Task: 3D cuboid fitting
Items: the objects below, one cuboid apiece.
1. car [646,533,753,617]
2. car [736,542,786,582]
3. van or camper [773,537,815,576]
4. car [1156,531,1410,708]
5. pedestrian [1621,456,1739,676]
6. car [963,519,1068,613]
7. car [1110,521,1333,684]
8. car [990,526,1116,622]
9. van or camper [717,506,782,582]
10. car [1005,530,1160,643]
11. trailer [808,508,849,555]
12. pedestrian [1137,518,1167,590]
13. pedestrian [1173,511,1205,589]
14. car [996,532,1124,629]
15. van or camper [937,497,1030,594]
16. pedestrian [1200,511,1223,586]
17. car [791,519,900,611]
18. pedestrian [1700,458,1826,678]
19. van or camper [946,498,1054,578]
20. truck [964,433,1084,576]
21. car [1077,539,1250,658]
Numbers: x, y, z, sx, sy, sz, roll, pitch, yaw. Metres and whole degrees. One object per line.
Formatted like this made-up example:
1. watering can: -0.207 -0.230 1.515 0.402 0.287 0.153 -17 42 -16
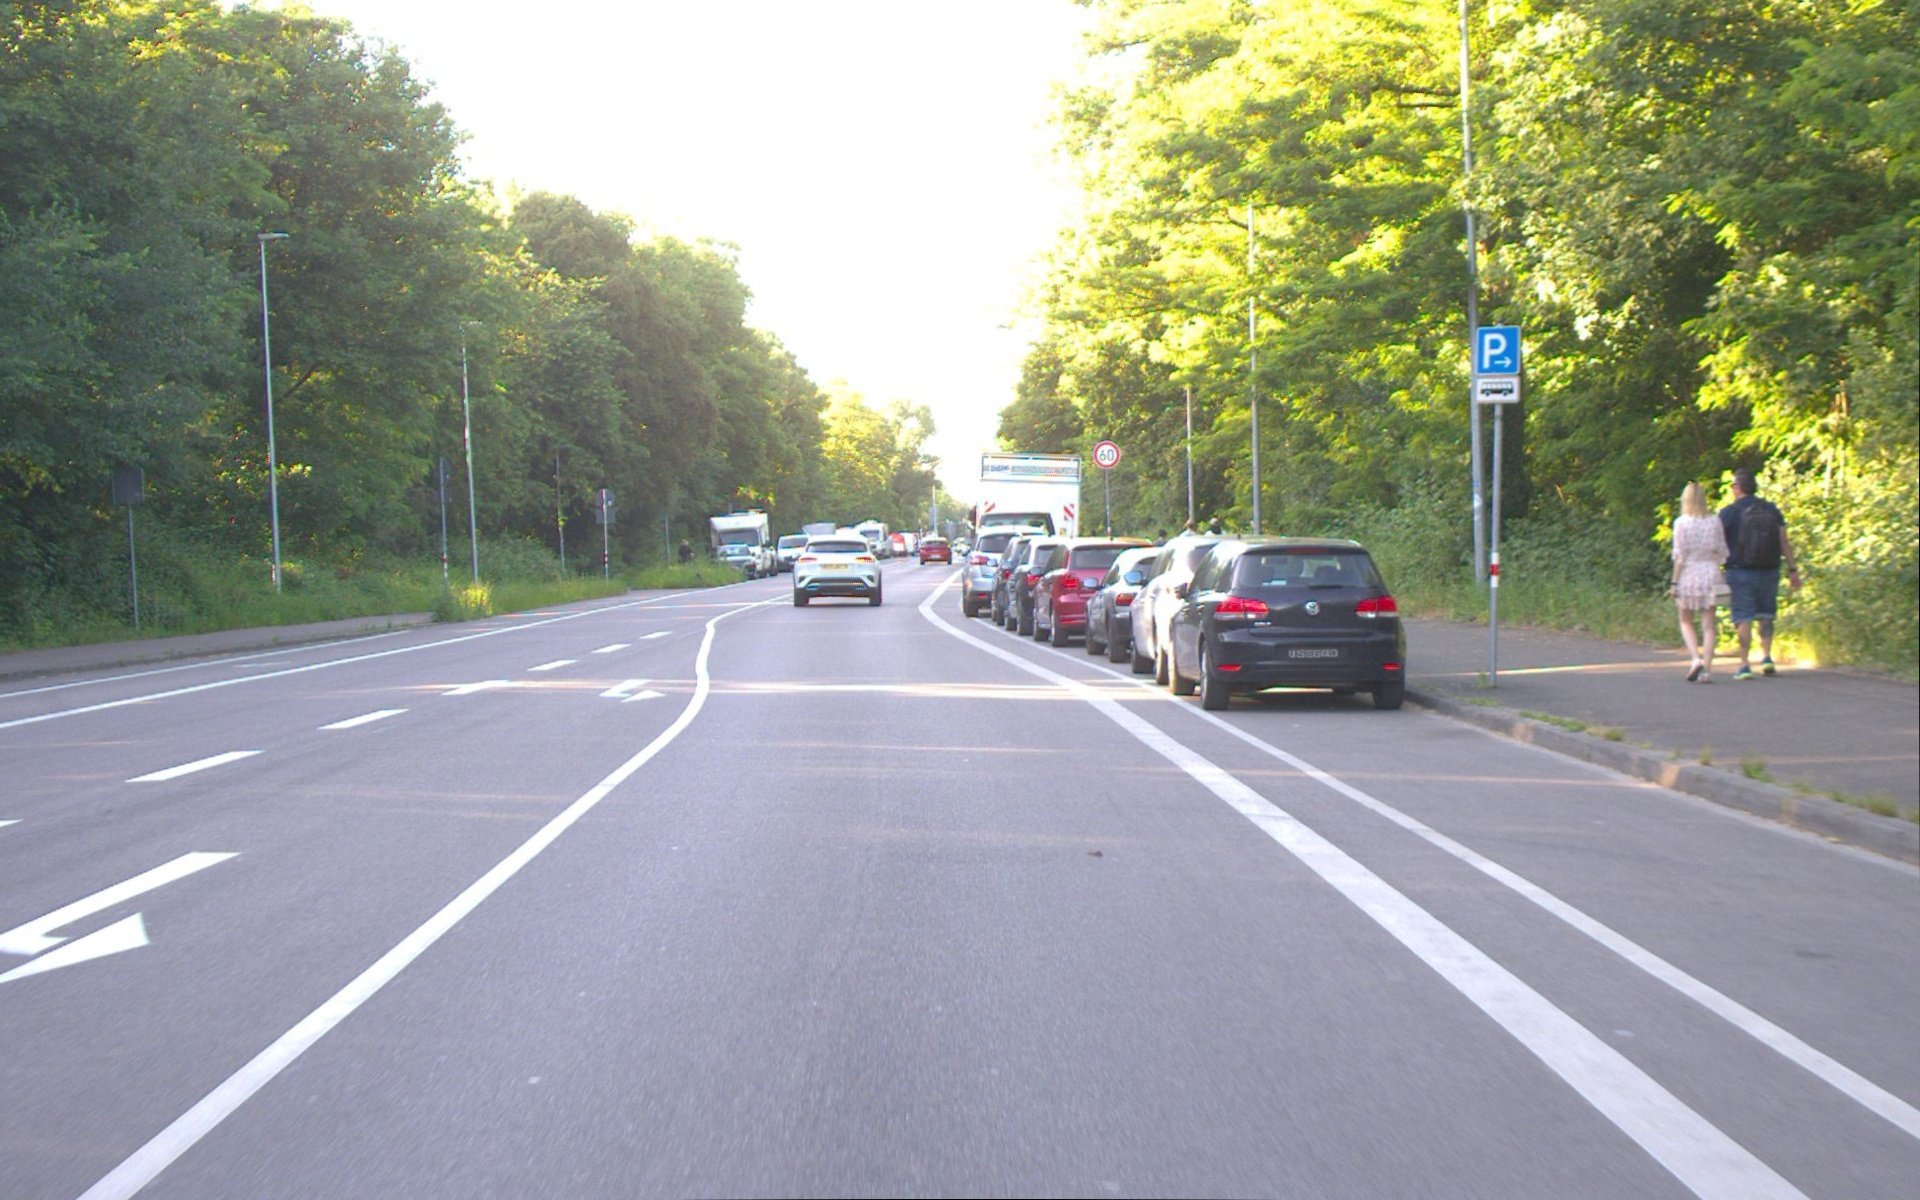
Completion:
1. car: -4.881 -0.498 64.878 1.807 1.514 4.505 0 1 -2
2. car: -7.877 -1.514 136.587 1.827 1.471 4.682 -3 1 -2
3. van or camper: -8.549 -2.246 177.339 1.835 1.905 4.856 -3 1 0
4. car: 2.819 0.125 30.800 1.656 1.447 4.021 1 1 -3
5. pedestrian: 6.070 -0.289 29.017 0.675 1.792 0.790 -4 1 -5
6. car: 1.012 -0.640 62.454 1.798 1.589 4.029 -2 1 1
7. car: 2.623 -0.028 35.395 1.737 1.519 4.360 -2 1 -3
8. car: 1.501 -0.464 57.055 1.807 1.514 4.505 0 1 -2
9. van or camper: -8.795 -2.346 144.495 2.314 2.959 7.112 -4 1 -2
10. car: 1.618 -0.213 46.565 1.616 1.464 3.725 0 1 -5
11. trailer: -7.642 -4.017 200.783 1.993 2.588 4.416 -4 1 1
12. pedestrian: 4.242 -1.017 75.982 0.563 1.582 0.482 -2 1 0
13. pedestrian: 5.200 -1.139 78.155 0.618 1.758 0.907 -2 1 0
14. car: 1.480 -0.324 52.097 1.594 1.396 3.799 0 1 -4
15. van or camper: 0.535 -1.206 74.969 1.897 2.007 4.587 -2 1 1
16. pedestrian: 5.393 -1.111 73.642 0.394 1.582 0.482 -2 1 0
17. car: -2.384 -0.769 72.605 2.029 1.834 4.029 -2 1 1
18. pedestrian: 6.801 -0.280 29.157 0.675 1.792 0.953 -4 1 -5
19. van or camper: 1.518 -2.329 127.590 2.442 2.790 6.553 -2 1 14
20. truck: 1.611 -2.489 90.310 2.832 3.485 8.579 -2 1 0
21. car: 2.381 -0.051 40.967 1.628 1.315 3.841 -1 1 -3
